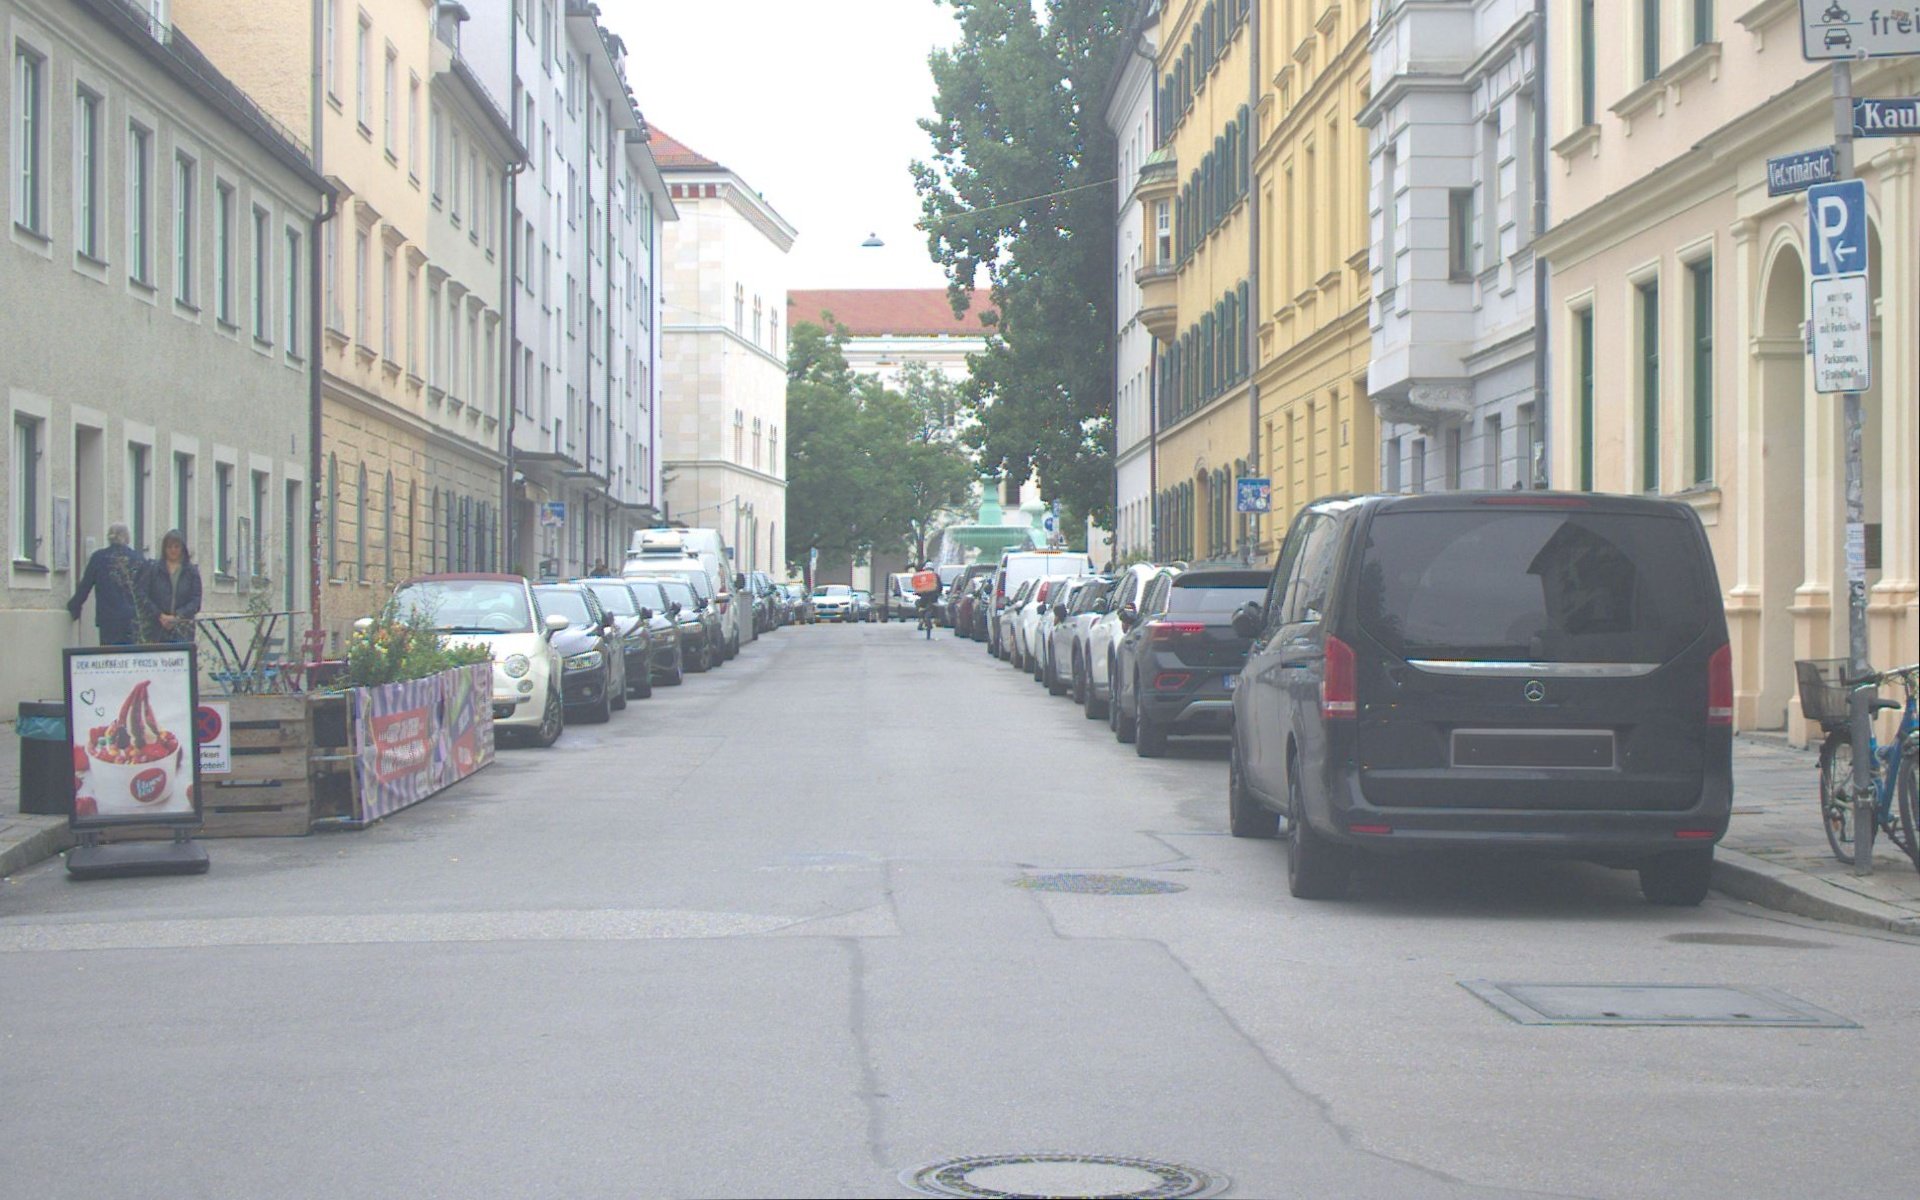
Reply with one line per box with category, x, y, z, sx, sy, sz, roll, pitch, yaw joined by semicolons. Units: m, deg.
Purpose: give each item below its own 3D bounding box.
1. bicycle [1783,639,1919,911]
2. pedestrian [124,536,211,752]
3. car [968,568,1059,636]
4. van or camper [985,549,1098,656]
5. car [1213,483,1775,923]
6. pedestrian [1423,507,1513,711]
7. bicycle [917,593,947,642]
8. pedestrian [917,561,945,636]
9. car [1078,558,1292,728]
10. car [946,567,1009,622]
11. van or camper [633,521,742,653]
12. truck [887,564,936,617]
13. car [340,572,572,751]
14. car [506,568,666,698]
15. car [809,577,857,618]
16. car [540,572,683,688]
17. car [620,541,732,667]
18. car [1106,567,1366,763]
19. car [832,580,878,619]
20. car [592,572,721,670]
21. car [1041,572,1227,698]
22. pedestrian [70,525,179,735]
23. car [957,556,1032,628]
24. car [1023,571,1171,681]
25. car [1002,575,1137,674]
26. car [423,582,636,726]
bicycle;4.199;0.763;15.616;0.465;1.049;1.729;-2;3;-1
pedestrian;-6.631;0.370;28.793;0.528;1.776;0.877;0;-1;-1
car;1.169;0.041;76.913;1.811;1.460;4.247;1;0;-2
van or camper;1.432;0.033;62.442;1.833;1.865;5.079;0;0;-1
car;2.469;0.414;17.284;1.997;1.858;5.253;1;1;0
pedestrian;5.049;0.097;34.210;0.669;1.974;0.708;-3;-1;-1
bicycle;-0.649;0.409;78.656;0.675;1.091;1.760;0;-1;-1
pedestrian;-0.663;-0.035;78.640;0.642;1.708;0.843;0;-1;-1
car;2.168;0.391;34.130;1.743;1.578;4.467;0;0;-1
car;0.513;-0.154;103.104;1.811;1.609;4.156;0;0;-1
van or camper;-4.860;-0.238;61.878;1.754;2.273;5.274;0;0;-2
truck;-2.131;-0.389;151.582;2.121;2.240;6.185;0;-1;-1
car;-4.392;0.497;30.412;1.754;1.470;3.714;1;0;-4
car;-4.483;0.369;41.635;1.754;1.491;4.201;0;0;-4
car;-5.094;-0.118;138.298;1.706;1.576;3.863;-1;0;1
car;-4.695;0.373;46.644;1.816;1.436;4.132;-1;1;-5
car;-4.701;0.052;56.601;1.754;1.988;4.626;0;0;-5
car;2.225;0.493;28.719;1.754;1.516;4.275;0;0;-1
car;-4.388;-0.038;144.445;1.706;1.576;3.863;-1;0;1
car;-4.521;0.298;51.660;1.754;1.404;4.103;0;0;-3
car;1.990;0.385;40.352;1.708;1.400;4.208;0;0;-4
pedestrian;-7.640;0.277;31.460;0.822;1.891;0.827;0;-1;-2
car;0.867;-0.197;89.194;1.811;1.791;4.247;1;0;-1
car;1.798;0.327;46.420;1.708;1.404;4.815;0;0;-1
car;1.640;0.355;52.680;1.708;1.449;4.097;0;0;-3
car;-4.393;0.514;35.675;1.798;1.335;4.686;0;1;-2
